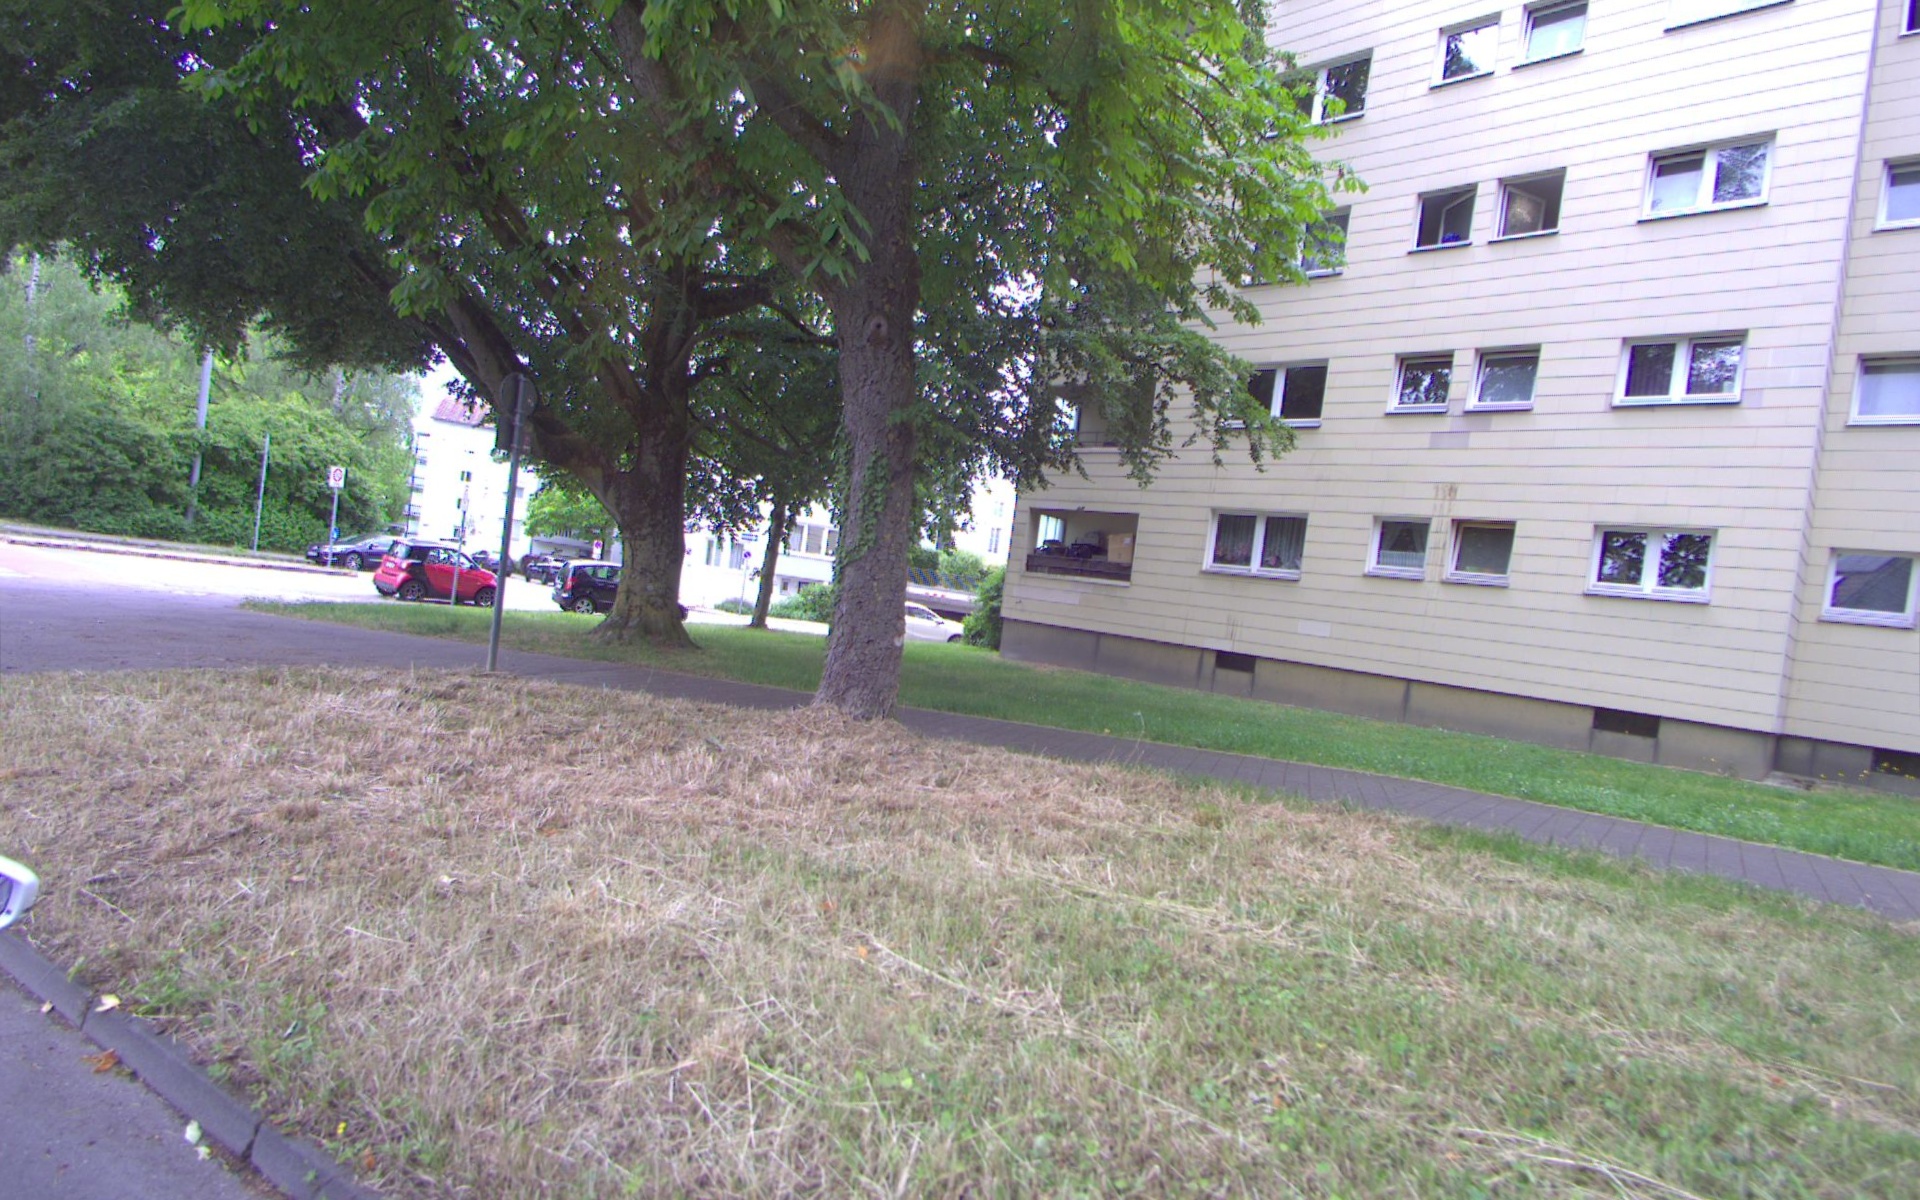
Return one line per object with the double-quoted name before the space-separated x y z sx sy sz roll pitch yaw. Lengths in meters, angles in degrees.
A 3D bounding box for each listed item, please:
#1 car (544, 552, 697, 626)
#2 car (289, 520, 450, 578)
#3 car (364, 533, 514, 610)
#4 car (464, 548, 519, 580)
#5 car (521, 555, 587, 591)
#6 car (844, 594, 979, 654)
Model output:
"car" -9.900 -0.322 29.416 3.790 1.610 1.802 8 -1 -34
"car" -21.994 -1.857 37.693 2.003 1.456 4.797 7 -1 26
"car" -13.523 -0.713 26.212 1.670 1.524 2.913 8 0 36
"car" -28.784 -2.232 61.755 1.922 1.563 4.017 7 -1 -42
"car" -21.777 -1.462 53.910 1.922 1.563 4.017 7 -1 -42
"car" -1.616 0.774 32.780 4.007 1.452 1.789 7 1 -15
